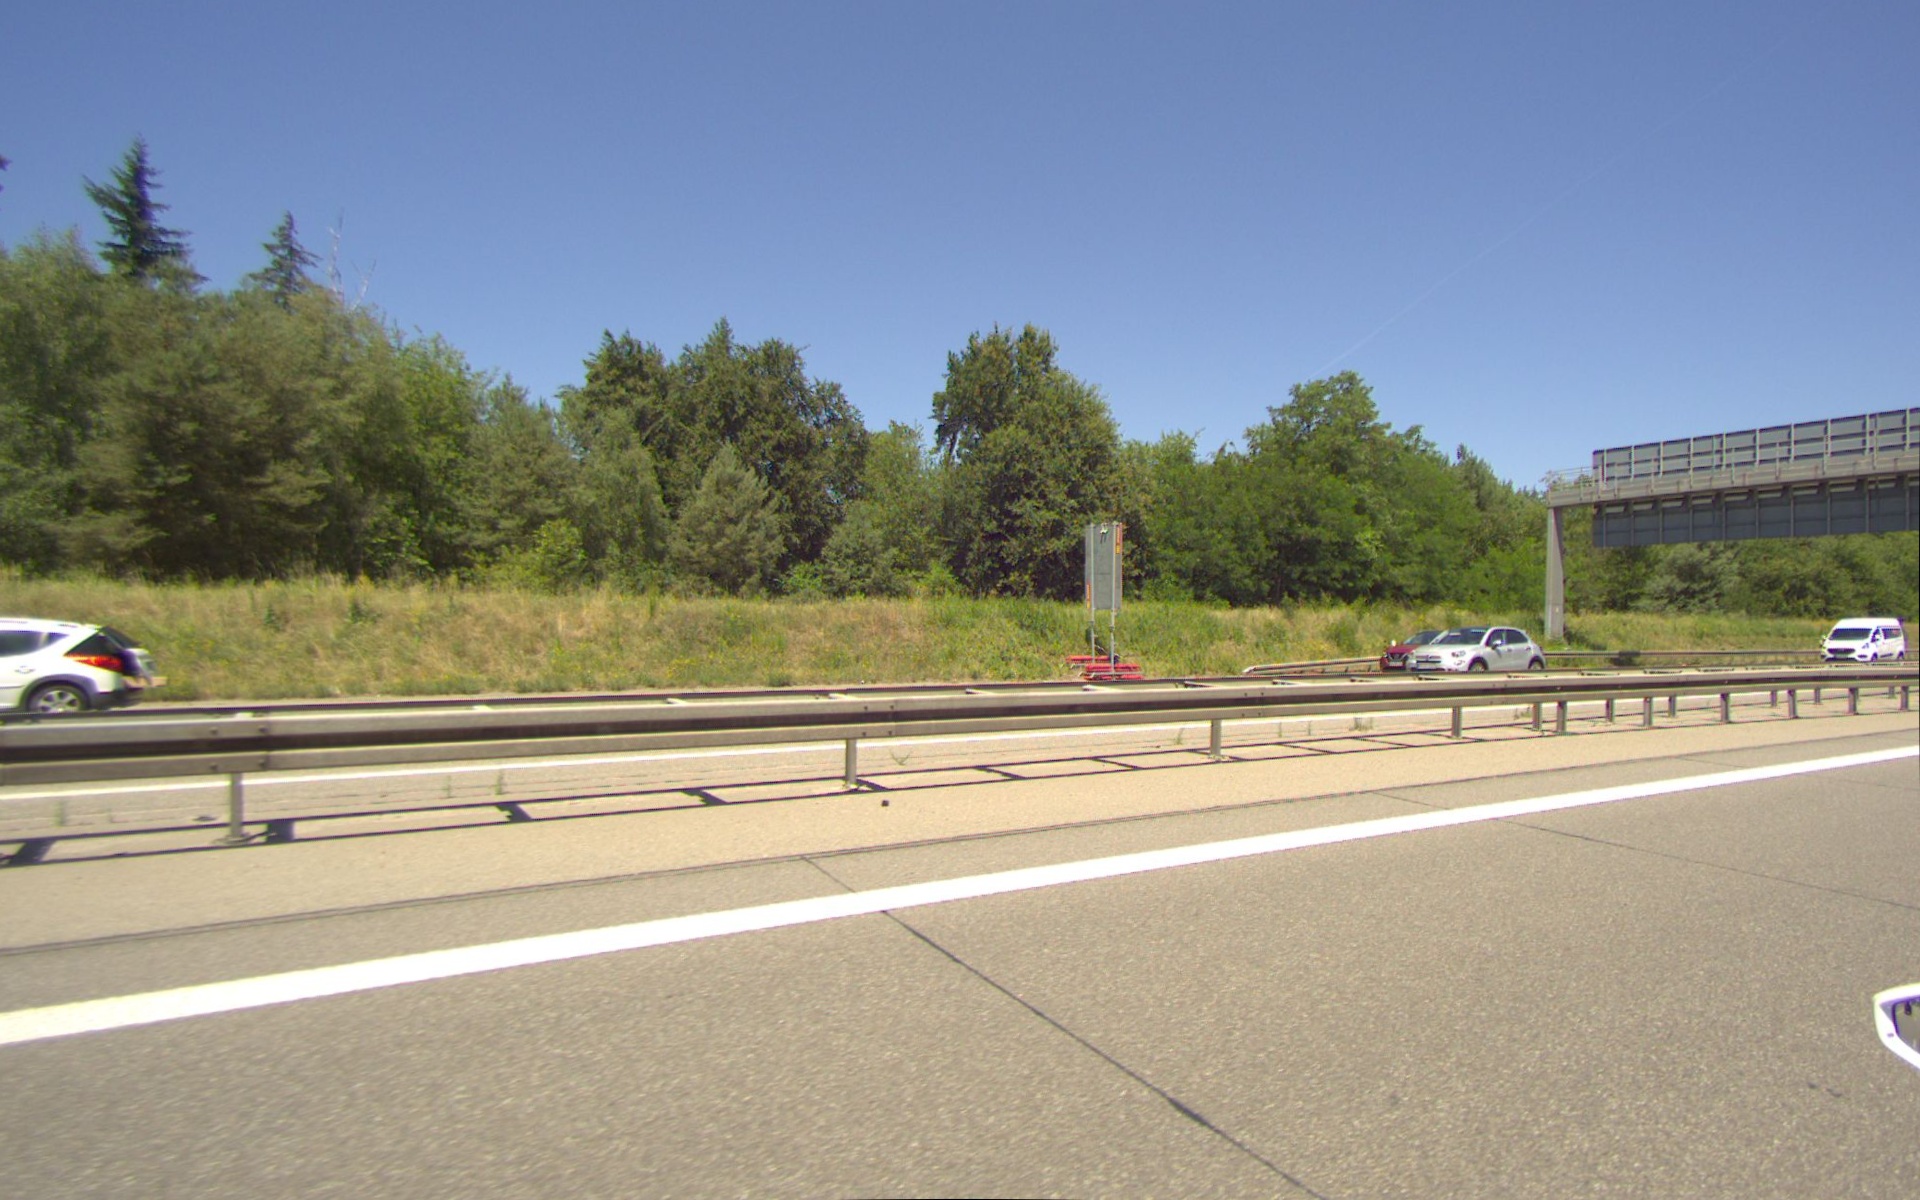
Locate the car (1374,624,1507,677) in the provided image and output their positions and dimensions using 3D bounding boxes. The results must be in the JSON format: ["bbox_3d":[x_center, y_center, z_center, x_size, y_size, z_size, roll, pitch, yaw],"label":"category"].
[{"bbox_3d":[15.624,1.621,32.622,4.558,1.611,1.639,1,-3,-31],"label":"car"}]

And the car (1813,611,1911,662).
[{"bbox_3d":[44.315,1.817,49.335,5.744,2.371,1.978,1,-3,-32],"label":"car"}]

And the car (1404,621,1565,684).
[{"bbox_3d":[13.787,1.366,26.345,4.509,1.518,1.638,1,-3,-32],"label":"car"}]

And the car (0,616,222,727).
[{"bbox_3d":[-13.787,1.027,14.504,4.848,1.536,1.785,1,-3,-32],"label":"car"}]
